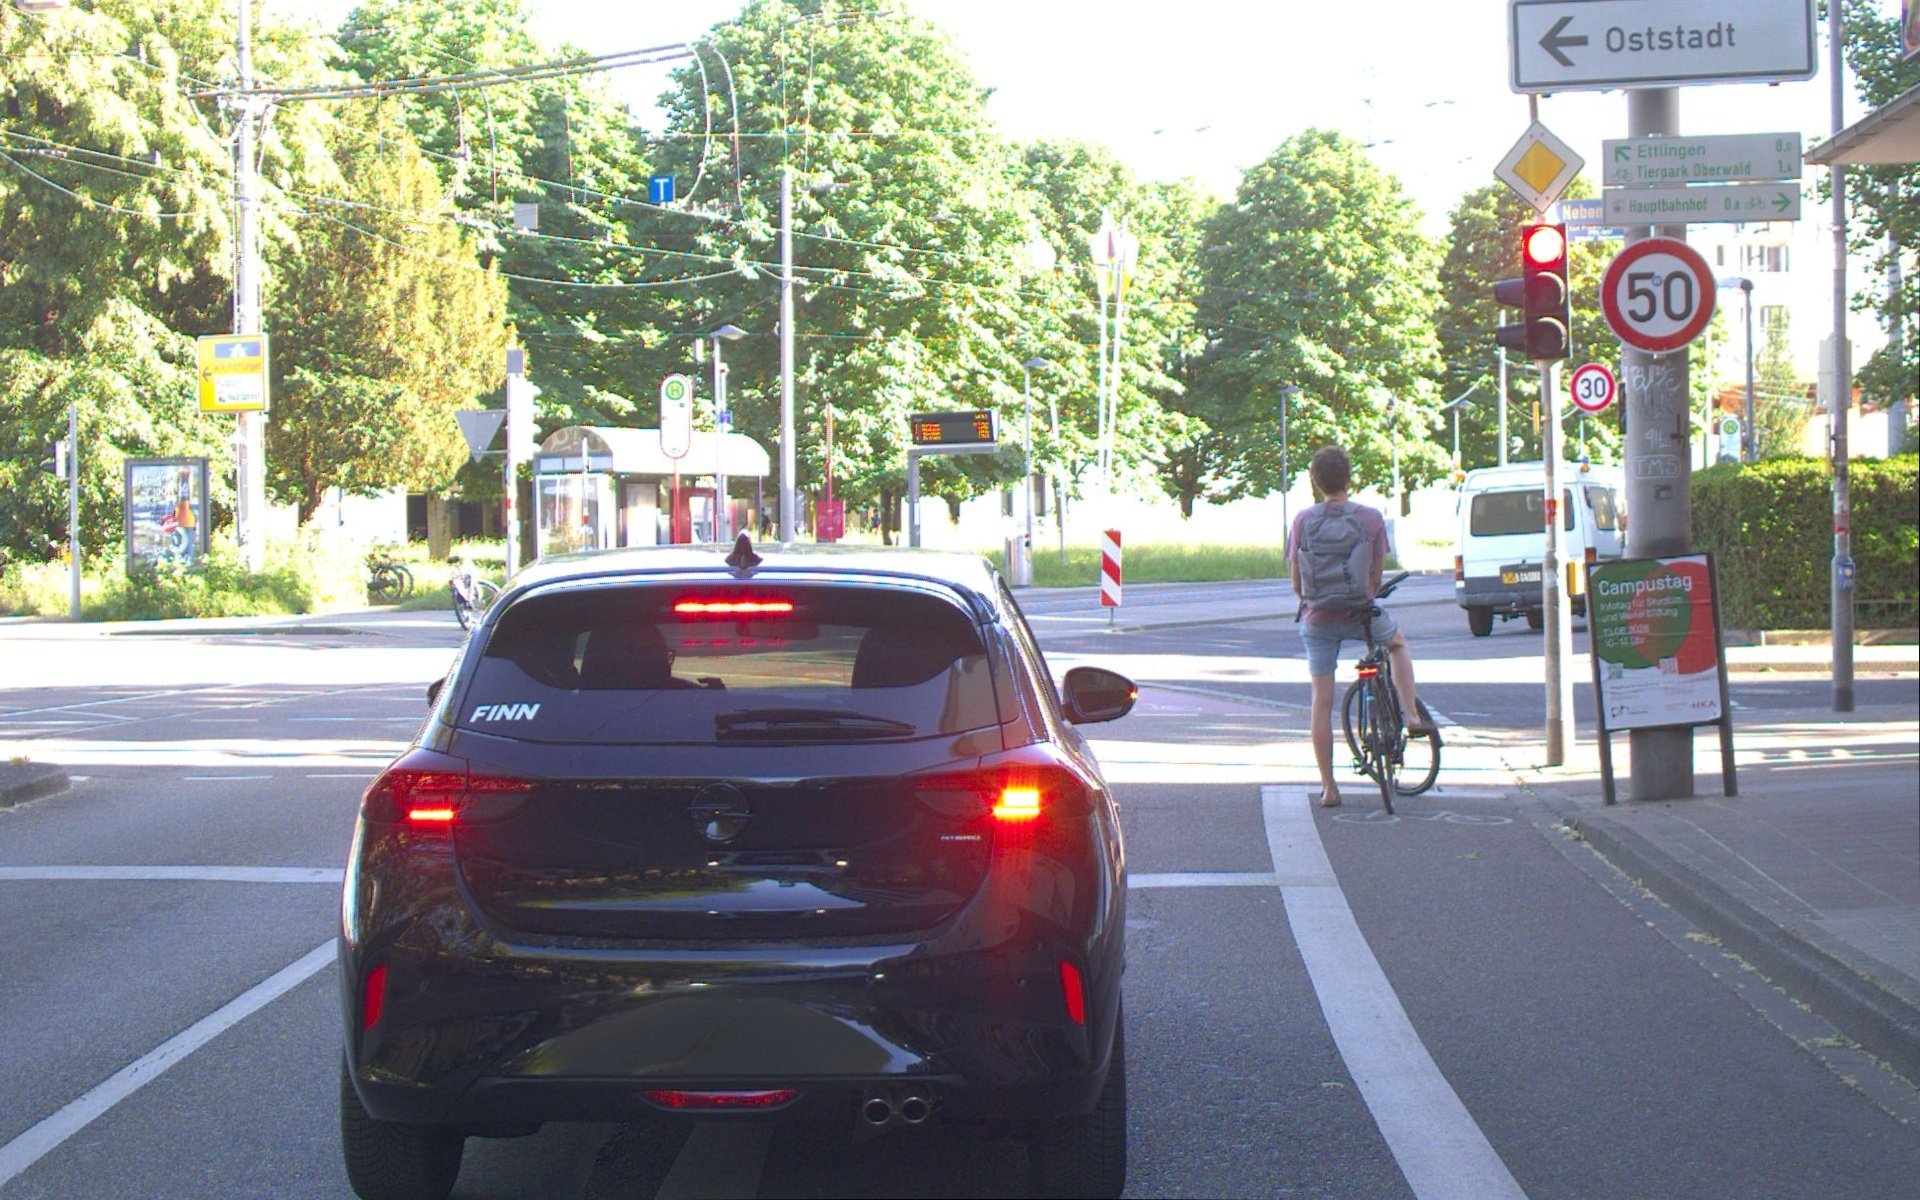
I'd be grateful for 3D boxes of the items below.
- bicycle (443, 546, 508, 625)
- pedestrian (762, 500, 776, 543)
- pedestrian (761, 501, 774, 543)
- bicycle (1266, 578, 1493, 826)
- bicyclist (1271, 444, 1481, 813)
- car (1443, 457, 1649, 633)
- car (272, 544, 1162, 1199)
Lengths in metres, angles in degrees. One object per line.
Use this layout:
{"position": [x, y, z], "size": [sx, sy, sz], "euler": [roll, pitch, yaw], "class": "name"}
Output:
{"position": [-6.541, -0.204, 46.480], "size": [0.605, 1.028, 1.982], "euler": [0, 1, -1], "class": "bicycle"}
{"position": [-6.365, -2.614, 114.772], "size": [0.412, 1.408, 0.436], "euler": [1, 0, -1], "class": "pedestrian"}
{"position": [-6.463, -2.624, 115.358], "size": [0.412, 1.408, 0.436], "euler": [1, 0, -3], "class": "pedestrian"}
{"position": [2.133, 0.487, 17.774], "size": [0.860, 1.149, 2.172], "euler": [-1, 1, -1], "class": "bicycle"}
{"position": [2.131, 0.133, 17.715], "size": [0.941, 1.845, 0.864], "euler": [-1, 1, -1], "class": "bicyclist"}
{"position": [7.984, -0.768, 46.459], "size": [2.065, 2.241, 4.883], "euler": [0, 1, 18], "class": "car"}
{"position": [-0.490, 0.586, 8.797], "size": [1.727, 1.424, 4.187], "euler": [0, 1, 0], "class": "car"}
